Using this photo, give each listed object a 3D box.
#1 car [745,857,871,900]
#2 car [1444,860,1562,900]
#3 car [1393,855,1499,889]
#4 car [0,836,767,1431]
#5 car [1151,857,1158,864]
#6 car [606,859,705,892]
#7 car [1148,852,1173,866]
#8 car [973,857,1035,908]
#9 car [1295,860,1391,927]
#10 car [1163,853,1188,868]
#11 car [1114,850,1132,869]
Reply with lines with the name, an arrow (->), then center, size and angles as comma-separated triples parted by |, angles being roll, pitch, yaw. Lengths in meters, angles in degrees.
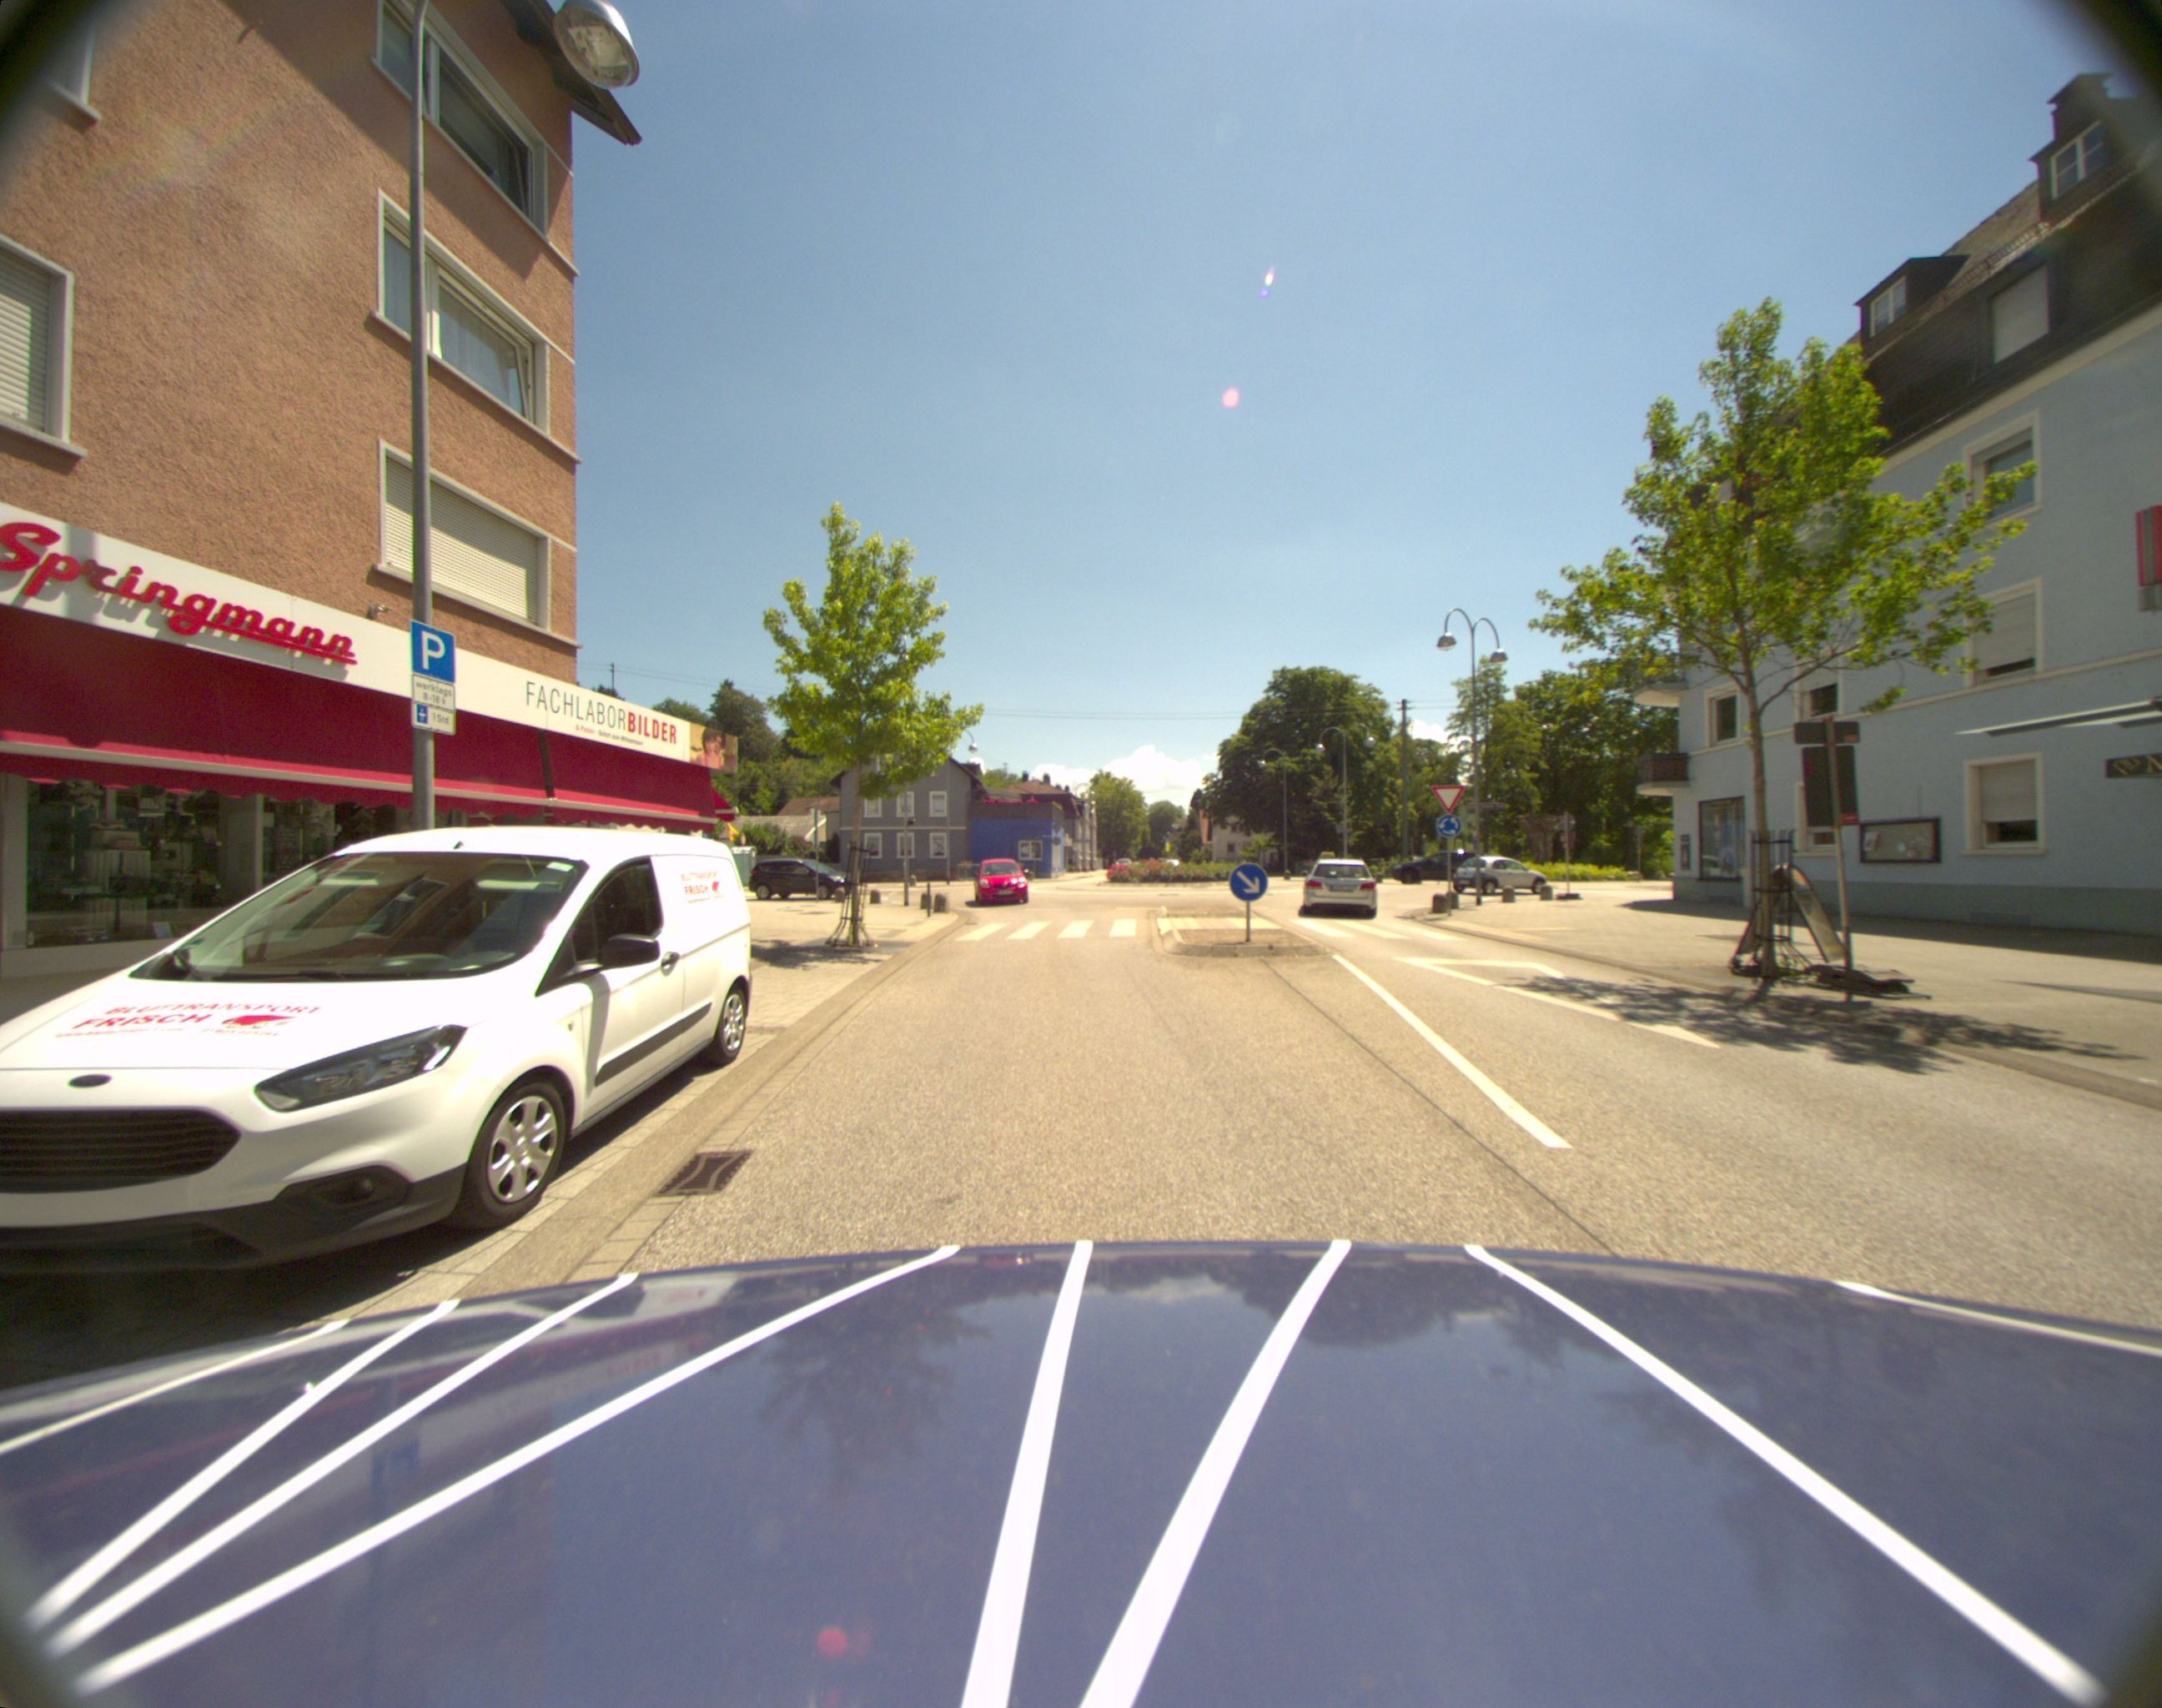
car -> -11.416, 1.013, 31.974 | 4.522, 1.678, 2.000 | -1, 1, 4
car -> 16.132, 0.999, 29.114 | 3.791, 1.449, 1.703 | 1, 0, -14
car -> 18.029, 0.912, 37.790 | 4.608, 1.575, 1.952 | 0, -2, 20
car -> -3.276, 0.814, 4.136 | 1.752, 1.714, 3.908 | 1, 0, -5
car -> 22.229, 1.961, 230.900 | 1.738, 1.695, 4.002 | -1, -2, 2
car -> -23.169, 1.136, 41.535 | 4.287, 1.576, 1.997 | -1, 4, -10
car -> 9.902, 0.651, 95.023 | 2.000, 1.553, 4.162 | 4, 0, -8
car -> -2.804, 0.945, 27.025 | 1.835, 1.524, 3.995 | -2, 2, -10
car -> 7.105, 0.981, 21.079 | 1.996, 1.583, 5.004 | 1, 0, 13
car -> 9.730, 0.700, 78.118 | 1.929, 1.373, 4.294 | -2, -2, 15
car -> 4.935, 0.681, 88.474 | 1.998, 2.001, 4.003 | 1, -2, 4
